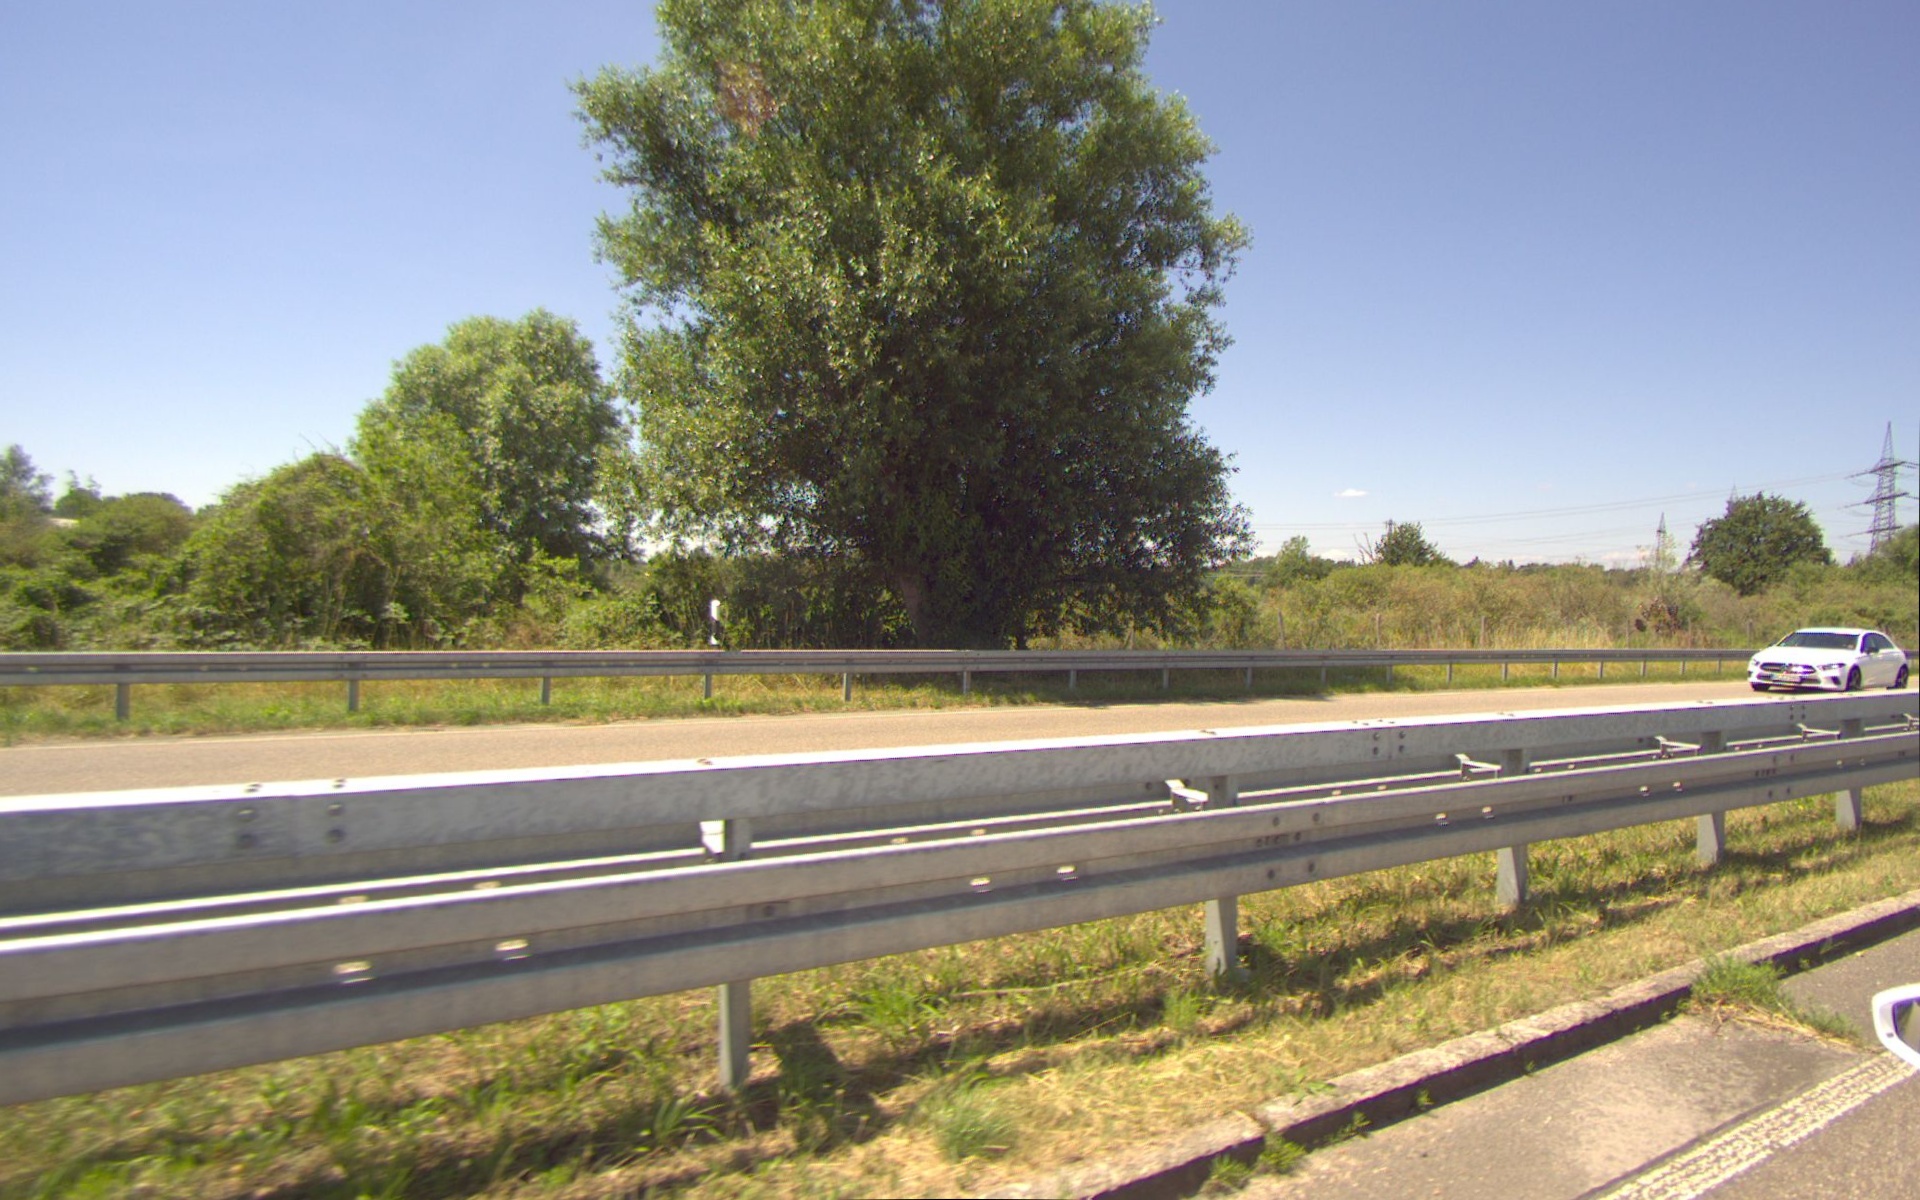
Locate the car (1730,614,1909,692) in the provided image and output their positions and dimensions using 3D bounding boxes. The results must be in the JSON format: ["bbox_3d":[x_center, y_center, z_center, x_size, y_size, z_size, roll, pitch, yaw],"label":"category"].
[{"bbox_3d":[19.287,1.139,22.519,4.055,1.518,1.818,1,1,-31],"label":"car"}]
